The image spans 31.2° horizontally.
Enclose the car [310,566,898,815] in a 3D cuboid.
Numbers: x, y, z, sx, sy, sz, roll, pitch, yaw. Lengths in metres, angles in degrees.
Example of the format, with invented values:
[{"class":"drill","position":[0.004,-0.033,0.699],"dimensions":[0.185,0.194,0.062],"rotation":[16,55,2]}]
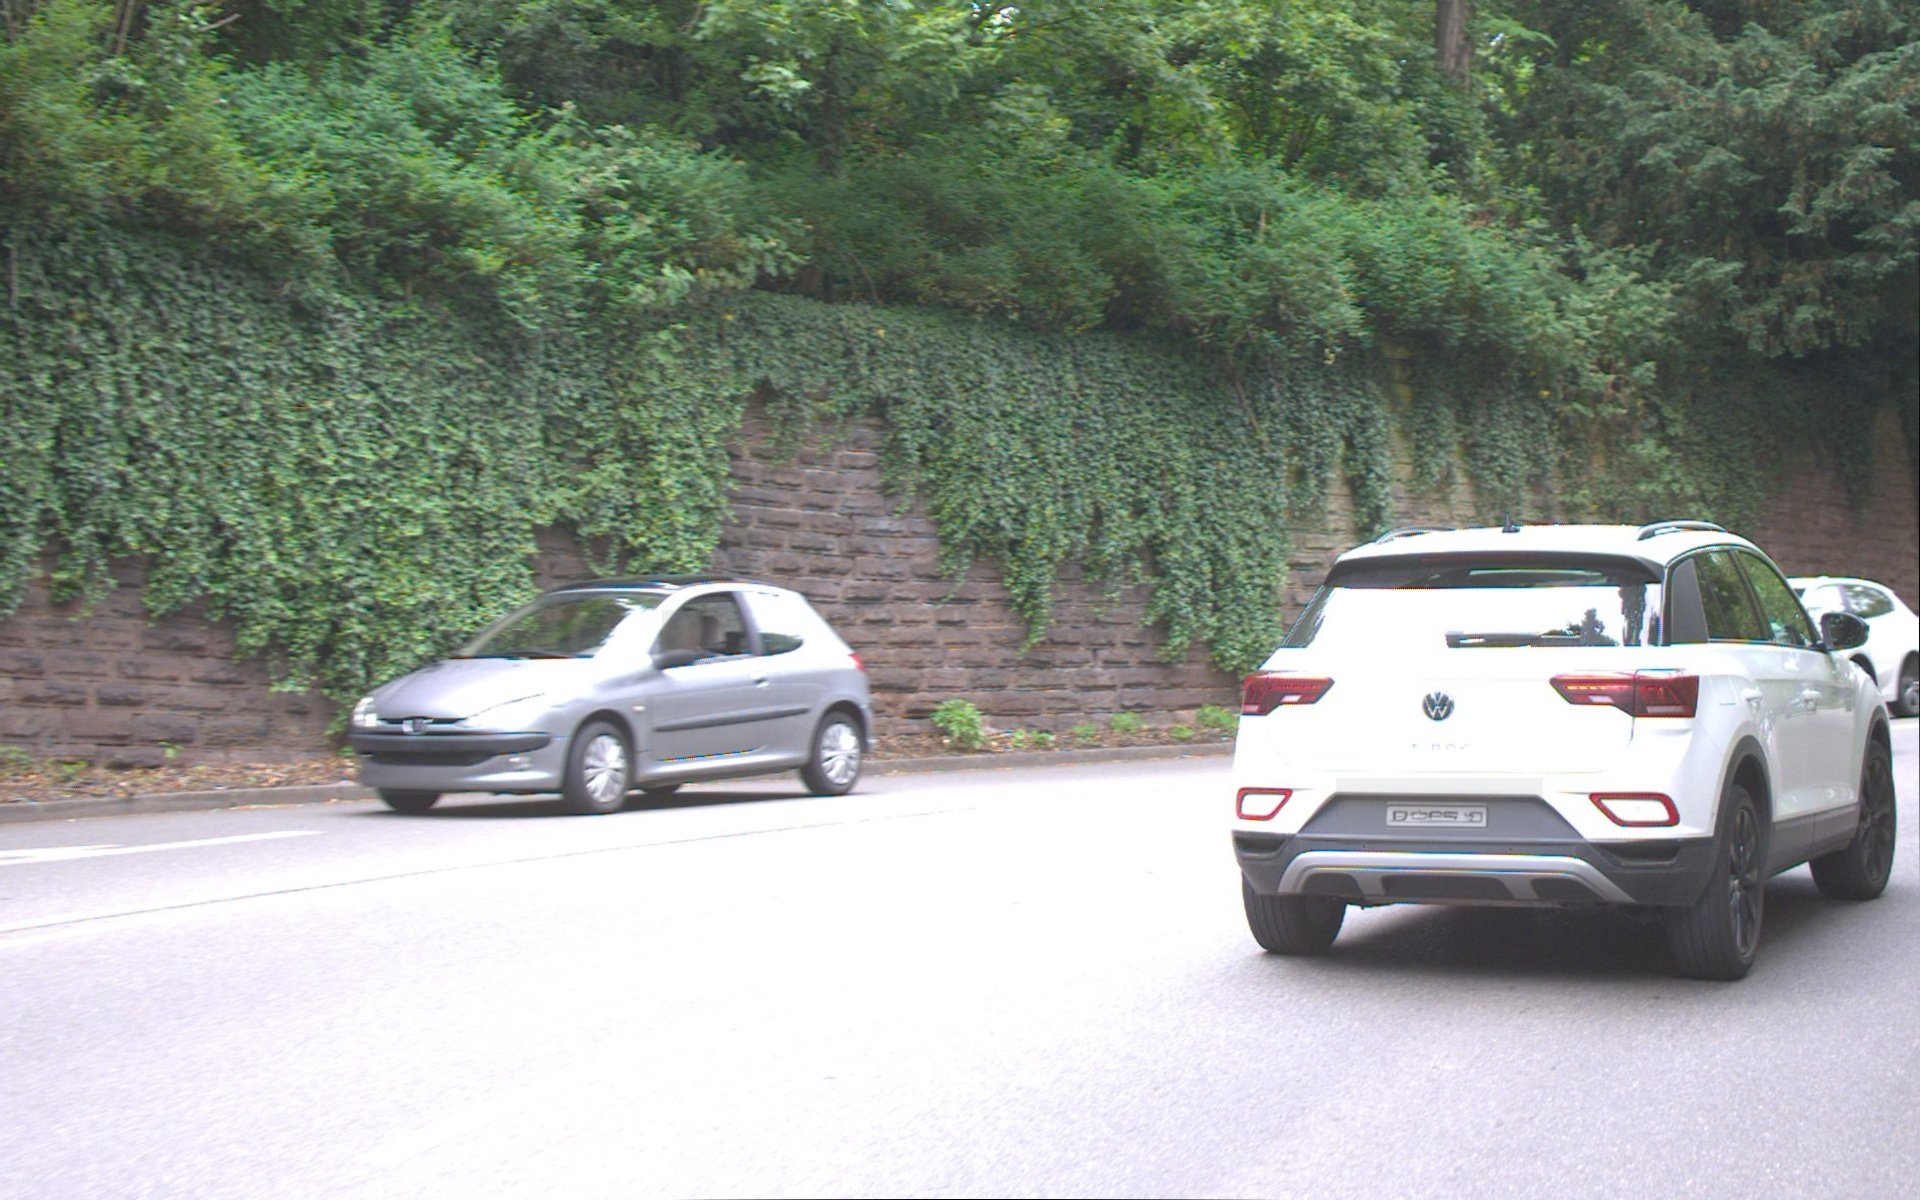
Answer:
[{"class":"car","position":[-2.134,0.515,21.523],"dimensions":[1.609,1.413,3.747],"rotation":[-1,0,35]}]

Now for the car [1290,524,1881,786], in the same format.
[{"class":"car","position":[4.215,0.311,22.529],"dimensions":[1.869,1.529,4.766],"rotation":[0,0,37]}]

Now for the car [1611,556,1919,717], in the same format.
[{"class":"car","position":[8.561,0.339,34.038],"dimensions":[4.317,1.411,1.751],"rotation":[-1,-3,-40]}]

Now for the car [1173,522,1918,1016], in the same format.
[{"class":"car","position":[2.419,0.487,13.188],"dimensions":[1.757,1.547,4.332],"rotation":[1,1,24]}]
